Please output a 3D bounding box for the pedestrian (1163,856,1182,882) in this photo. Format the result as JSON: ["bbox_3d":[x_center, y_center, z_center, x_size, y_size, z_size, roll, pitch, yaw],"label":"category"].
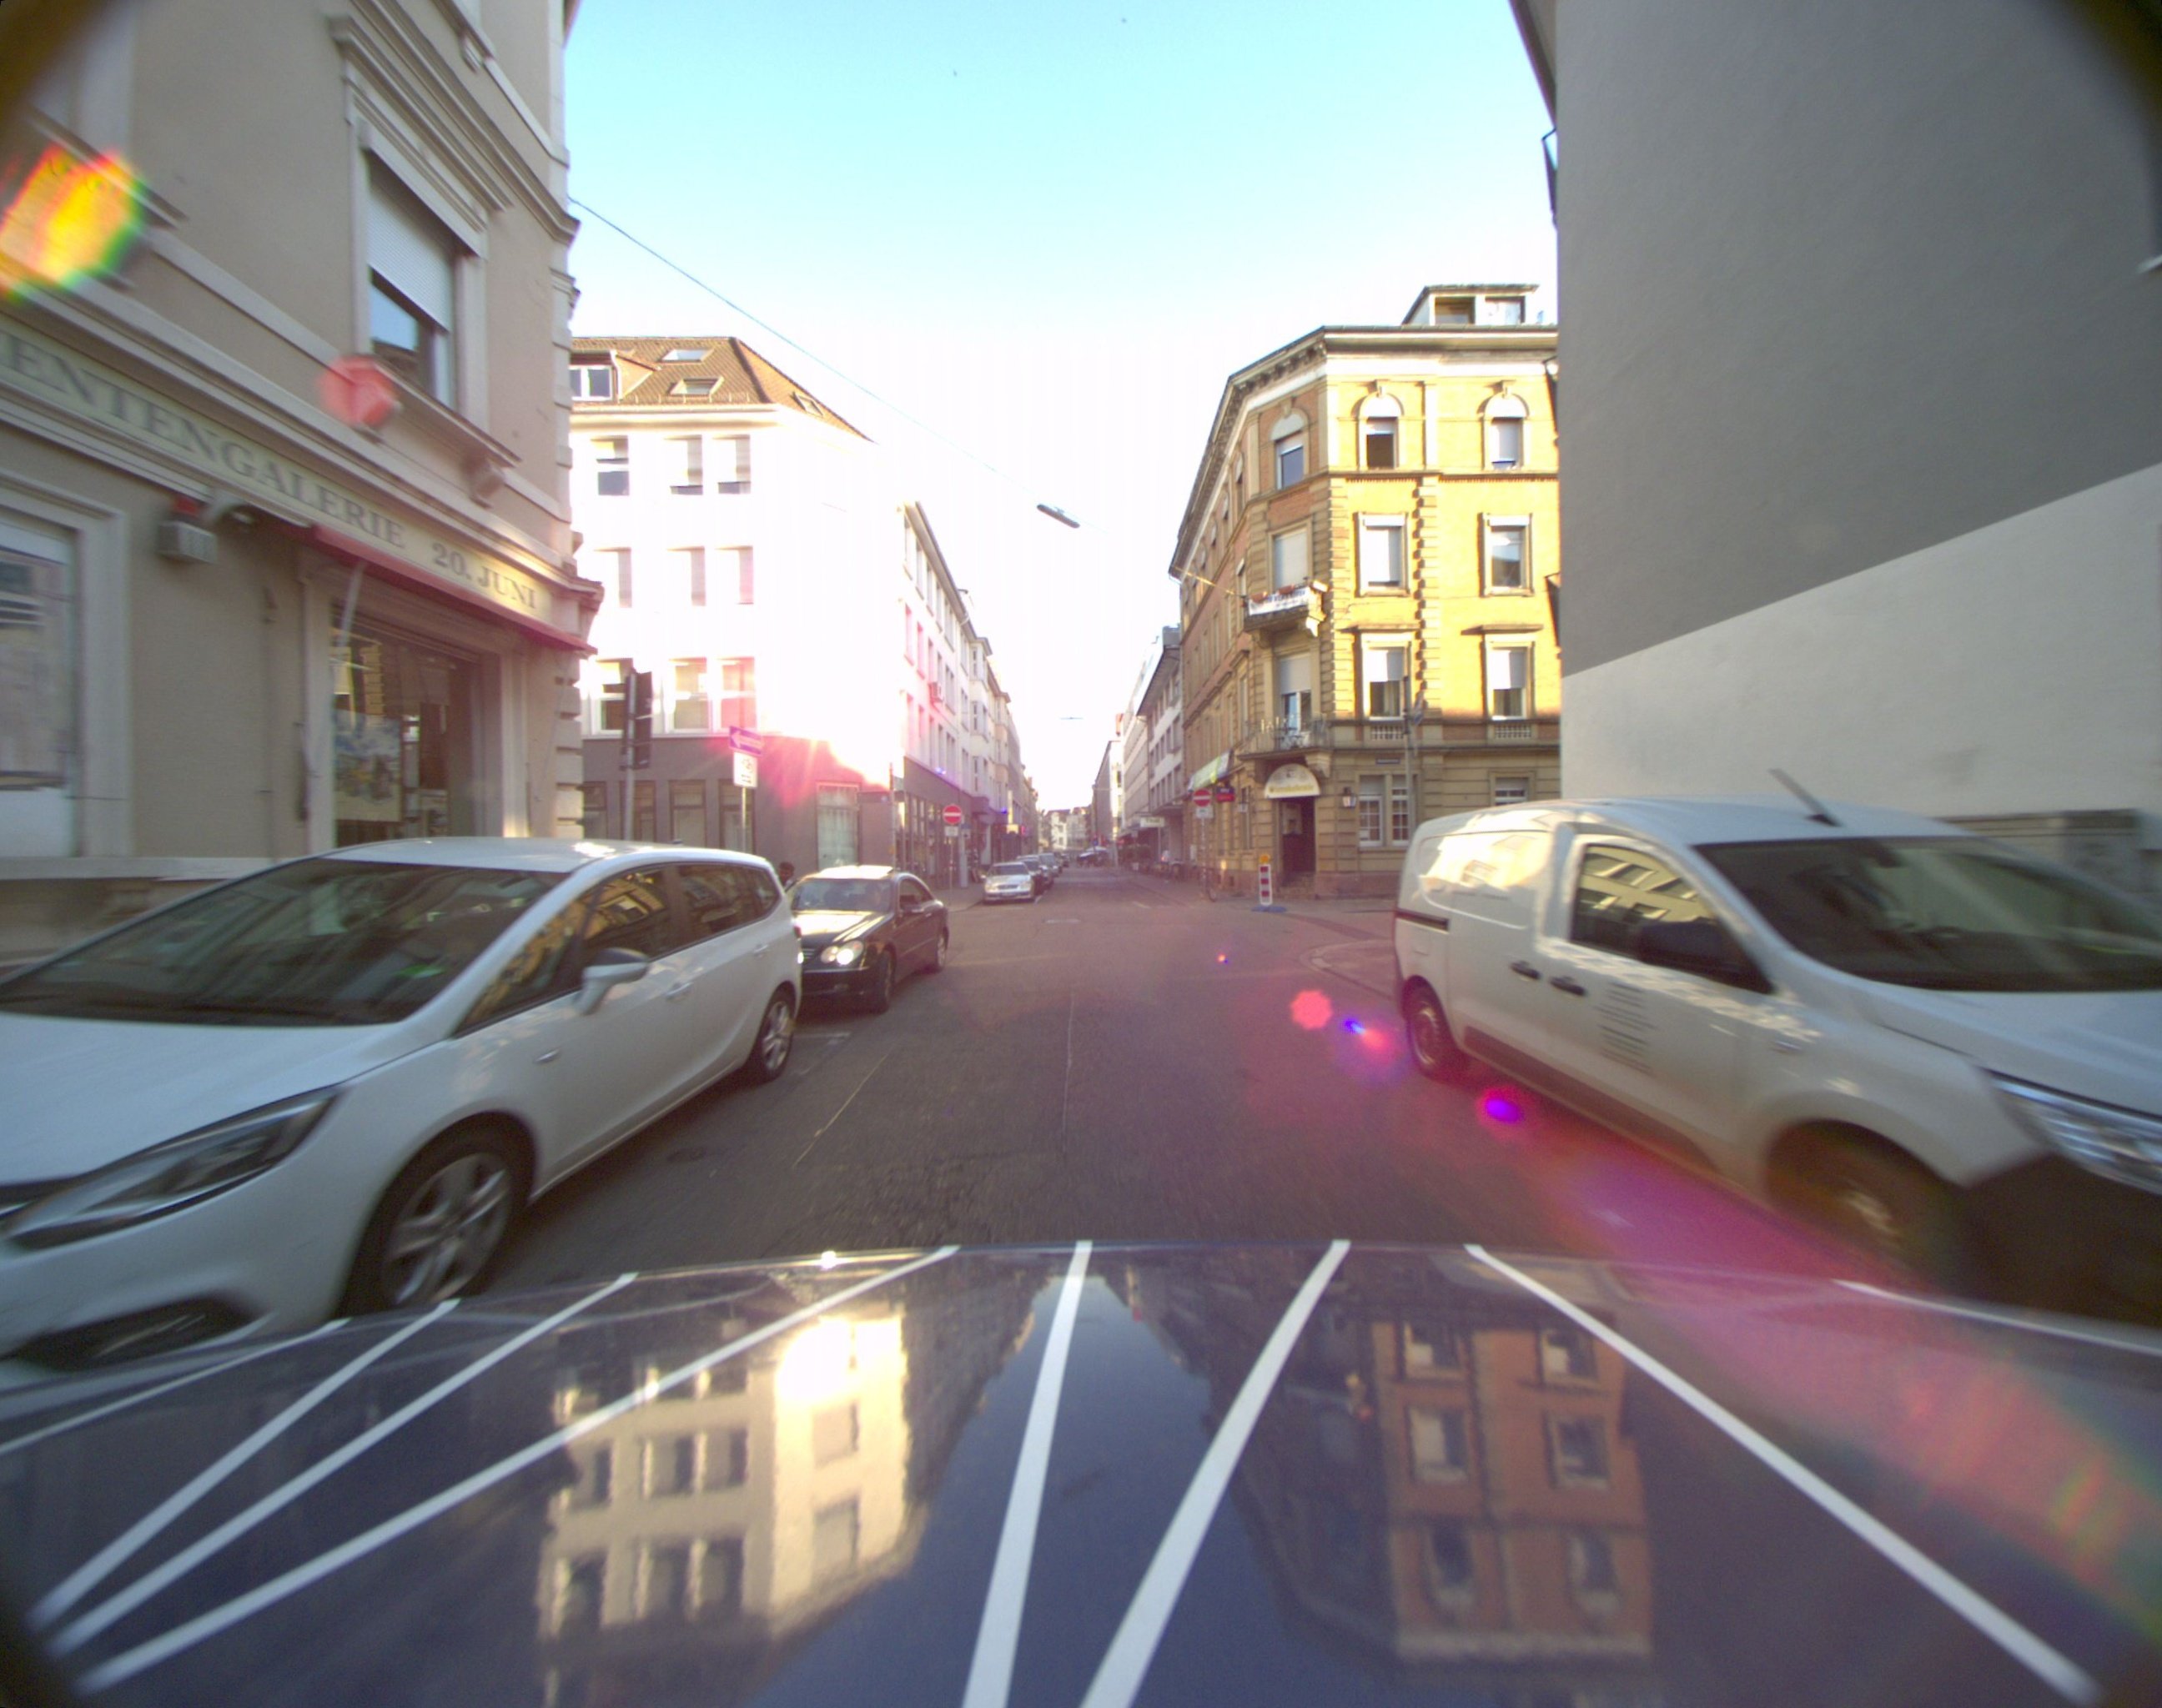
[{"bbox_3d":[4.905,0.803,40.799,0.836,1.332,0.806,-1,1,20],"label":"pedestrian"}]

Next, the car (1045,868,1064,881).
[{"bbox_3d":[-2.239,1.737,64.381,1.514,1.053,3.467,-1,0,0],"label":"car"}]

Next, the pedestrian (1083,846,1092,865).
[{"bbox_3d":[0.916,0.148,105.751,1.247,2.599,1.467,-1,0,-1],"label":"pedestrian"}]

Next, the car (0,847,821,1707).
[{"bbox_3d":[-2.958,0.875,3.715,1.821,1.713,4.461,-1,0,0],"label":"car"}]

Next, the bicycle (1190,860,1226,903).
[{"bbox_3d":[4.029,0.861,24.254,0.660,1.268,1.763,-4,0,-4],"label":"bicycle"}]

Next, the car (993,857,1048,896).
[{"bbox_3d":[-2.501,0.923,32.281,2.013,1.515,4.117,-1,0,0],"label":"car"}]

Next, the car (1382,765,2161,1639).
[{"bbox_3d":[2.999,0.718,3.289,1.635,1.803,4.185,-1,0,-1],"label":"car"}]

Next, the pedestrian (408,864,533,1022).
[{"bbox_3d":[-5.945,0.838,7.429,0.716,1.463,0.580,-1,1,0],"label":"pedestrian"}]

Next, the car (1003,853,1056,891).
[{"bbox_3d":[-2.515,0.881,38.027,2.335,1.734,4.487,-1,0,0],"label":"car"}]

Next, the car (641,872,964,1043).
[{"bbox_3d":[-2.803,0.964,9.003,1.888,1.400,4.730,-1,0,2],"label":"car"}]

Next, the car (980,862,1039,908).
[{"bbox_3d":[-2.429,1.014,26.715,1.755,1.393,4.488,-2,0,-2],"label":"car"}]

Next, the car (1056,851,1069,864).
[{"bbox_3d":[-2.953,0.520,120.702,1.999,2.002,3.998,-1,1,-3],"label":"car"}]
